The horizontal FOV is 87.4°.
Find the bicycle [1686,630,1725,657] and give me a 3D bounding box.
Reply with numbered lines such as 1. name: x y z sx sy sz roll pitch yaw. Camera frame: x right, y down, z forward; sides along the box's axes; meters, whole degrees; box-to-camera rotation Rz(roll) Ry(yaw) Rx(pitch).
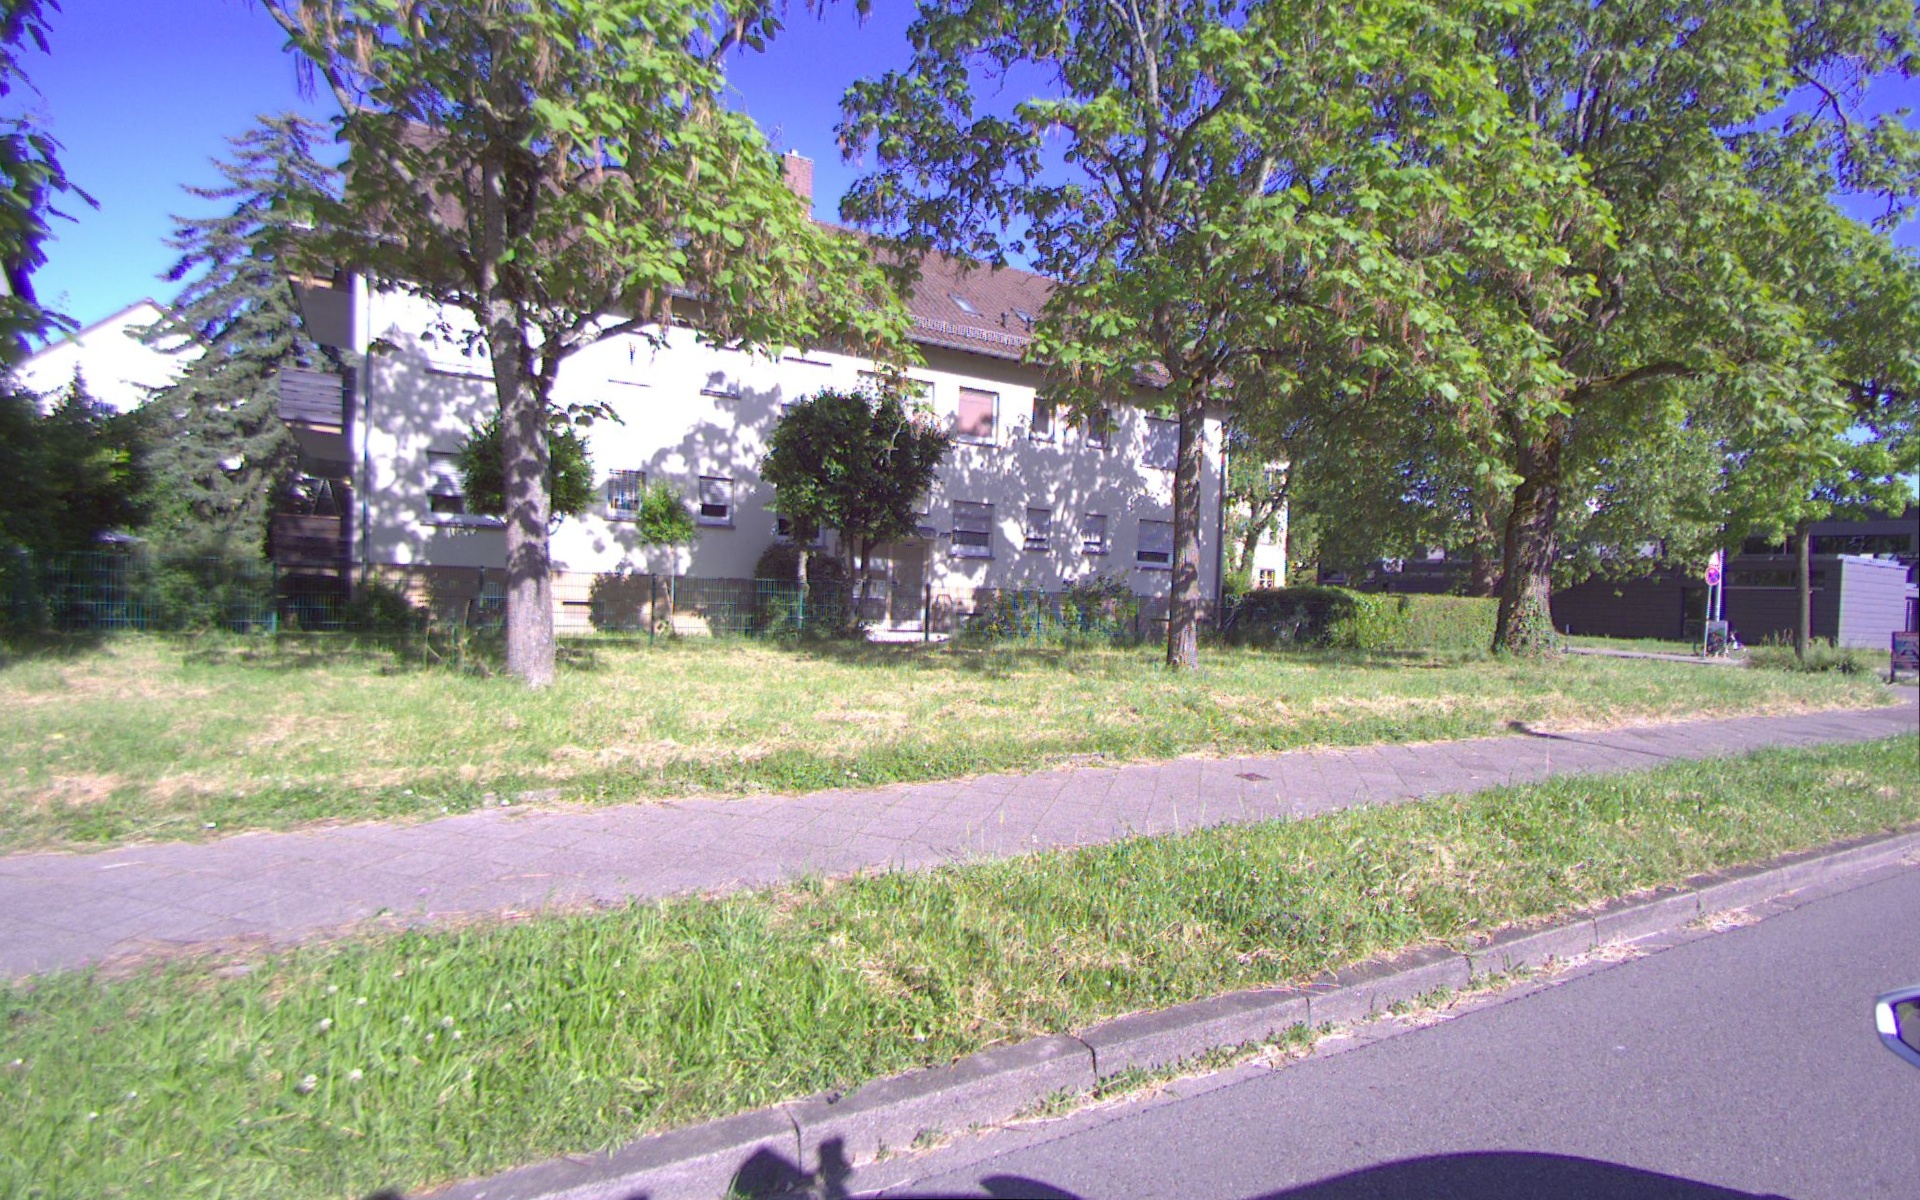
1. bicycle: 26.207 1.513 35.331 0.999 0.899 0.440 1 1 16
